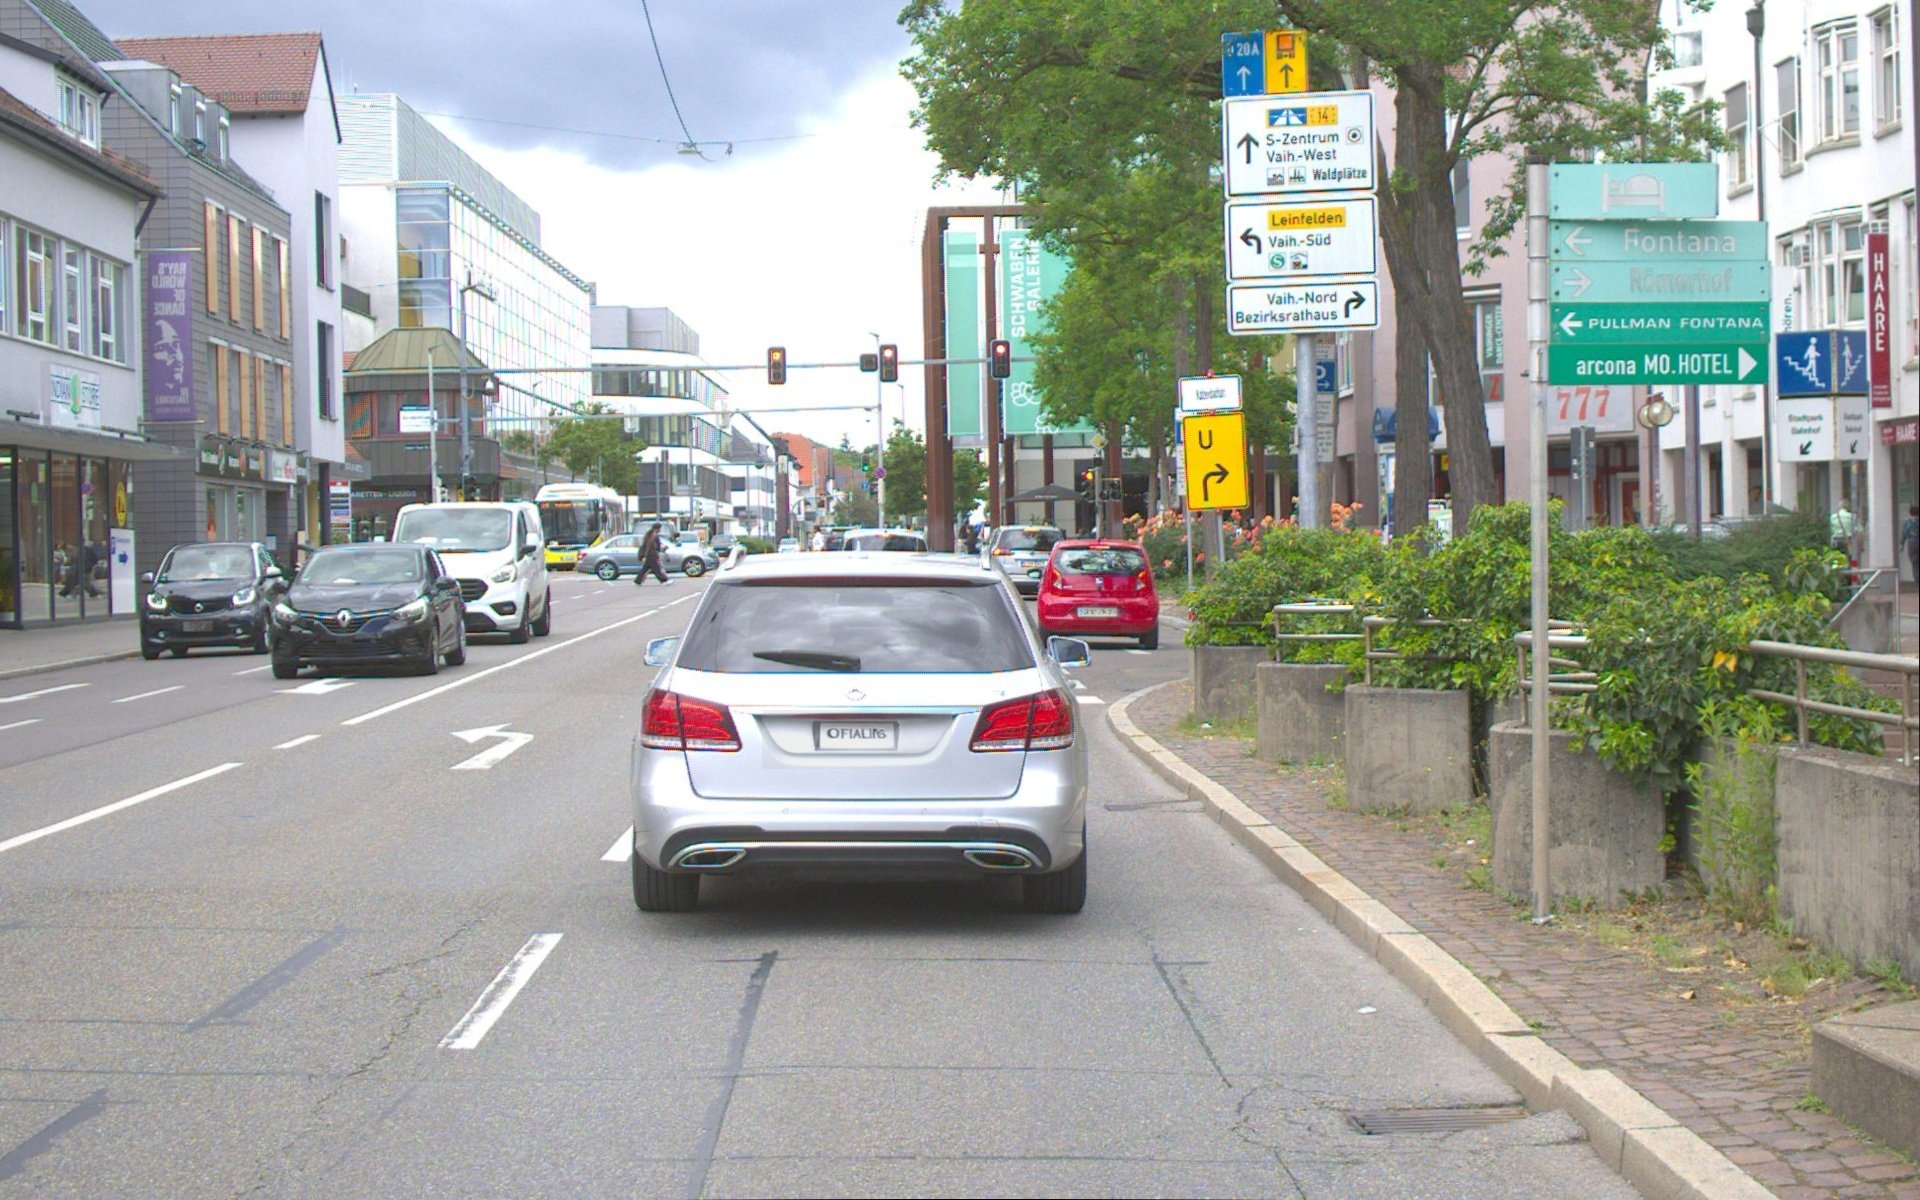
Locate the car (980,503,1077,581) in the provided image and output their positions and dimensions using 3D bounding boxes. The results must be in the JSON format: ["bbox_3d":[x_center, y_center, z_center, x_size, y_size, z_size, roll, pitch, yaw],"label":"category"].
[{"bbox_3d":[1.503,-1.316,76.999,1.993,1.678,4.000,-1,1,-1],"label":"car"}]

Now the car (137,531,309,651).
[{"bbox_3d":[-10.044,-0.154,47.060,1.617,1.518,3.508,-2,1,-1],"label":"car"}]

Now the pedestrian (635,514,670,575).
[{"bbox_3d":[-8.400,-1.507,93.899,0.857,1.629,0.588,2,1,1],"label":"pedestrian"}]

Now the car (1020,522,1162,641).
[{"bbox_3d":[1.755,-0.221,46.987,1.754,1.516,4.000,-1,-1,0],"label":"car"}]

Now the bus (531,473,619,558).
[{"bbox_3d":[-14.827,-3.258,132.805,2.775,3.154,5.933,-1,1,-1],"label":"bus"}]

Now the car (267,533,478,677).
[{"bbox_3d":[-6.349,0.009,37.499,1.617,1.423,3.923,-2,1,0],"label":"car"}]

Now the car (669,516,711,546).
[{"bbox_3d":[-11.594,-2.958,147.799,1.575,1.240,3.607,-1,1,-1],"label":"car"}]

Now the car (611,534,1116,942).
[{"bbox_3d":[-0.462,0.475,14.822,1.874,1.501,4.001,0,1,-3],"label":"car"}]

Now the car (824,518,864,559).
[{"bbox_3d":[-5.861,-3.124,174.328,1.993,2.007,4.001,-1,1,-1],"label":"car"}]

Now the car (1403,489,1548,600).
[{"bbox_3d":[9.064,-0.992,60.694,1.866,1.858,4.000,-1,1,-1],"label":"car"}]

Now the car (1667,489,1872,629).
[{"bbox_3d":[11.370,-0.603,48.546,1.866,1.858,4.000,-1,1,-1],"label":"car"}]

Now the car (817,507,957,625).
[{"bbox_3d":[-1.086,-0.537,51.769,1.993,1.678,4.000,-1,1,-1],"label":"car"}]

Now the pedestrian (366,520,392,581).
[{"bbox_3d":[-15.810,-1.345,93.483,0.586,1.629,0.615,2,1,-3],"label":"pedestrian"}]

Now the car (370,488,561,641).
[{"bbox_3d":[-6.859,-0.525,48.179,1.961,1.954,5.140,-2,1,-1],"label":"car"}]

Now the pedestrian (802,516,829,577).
[{"bbox_3d":[-3.877,-1.442,92.354,0.613,1.629,0.588,2,1,-10],"label":"pedestrian"}]

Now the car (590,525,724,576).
[{"bbox_3d":[-9.631,-1.581,109.386,4.100,1.536,1.580,-1,1,0],"label":"car"}]
